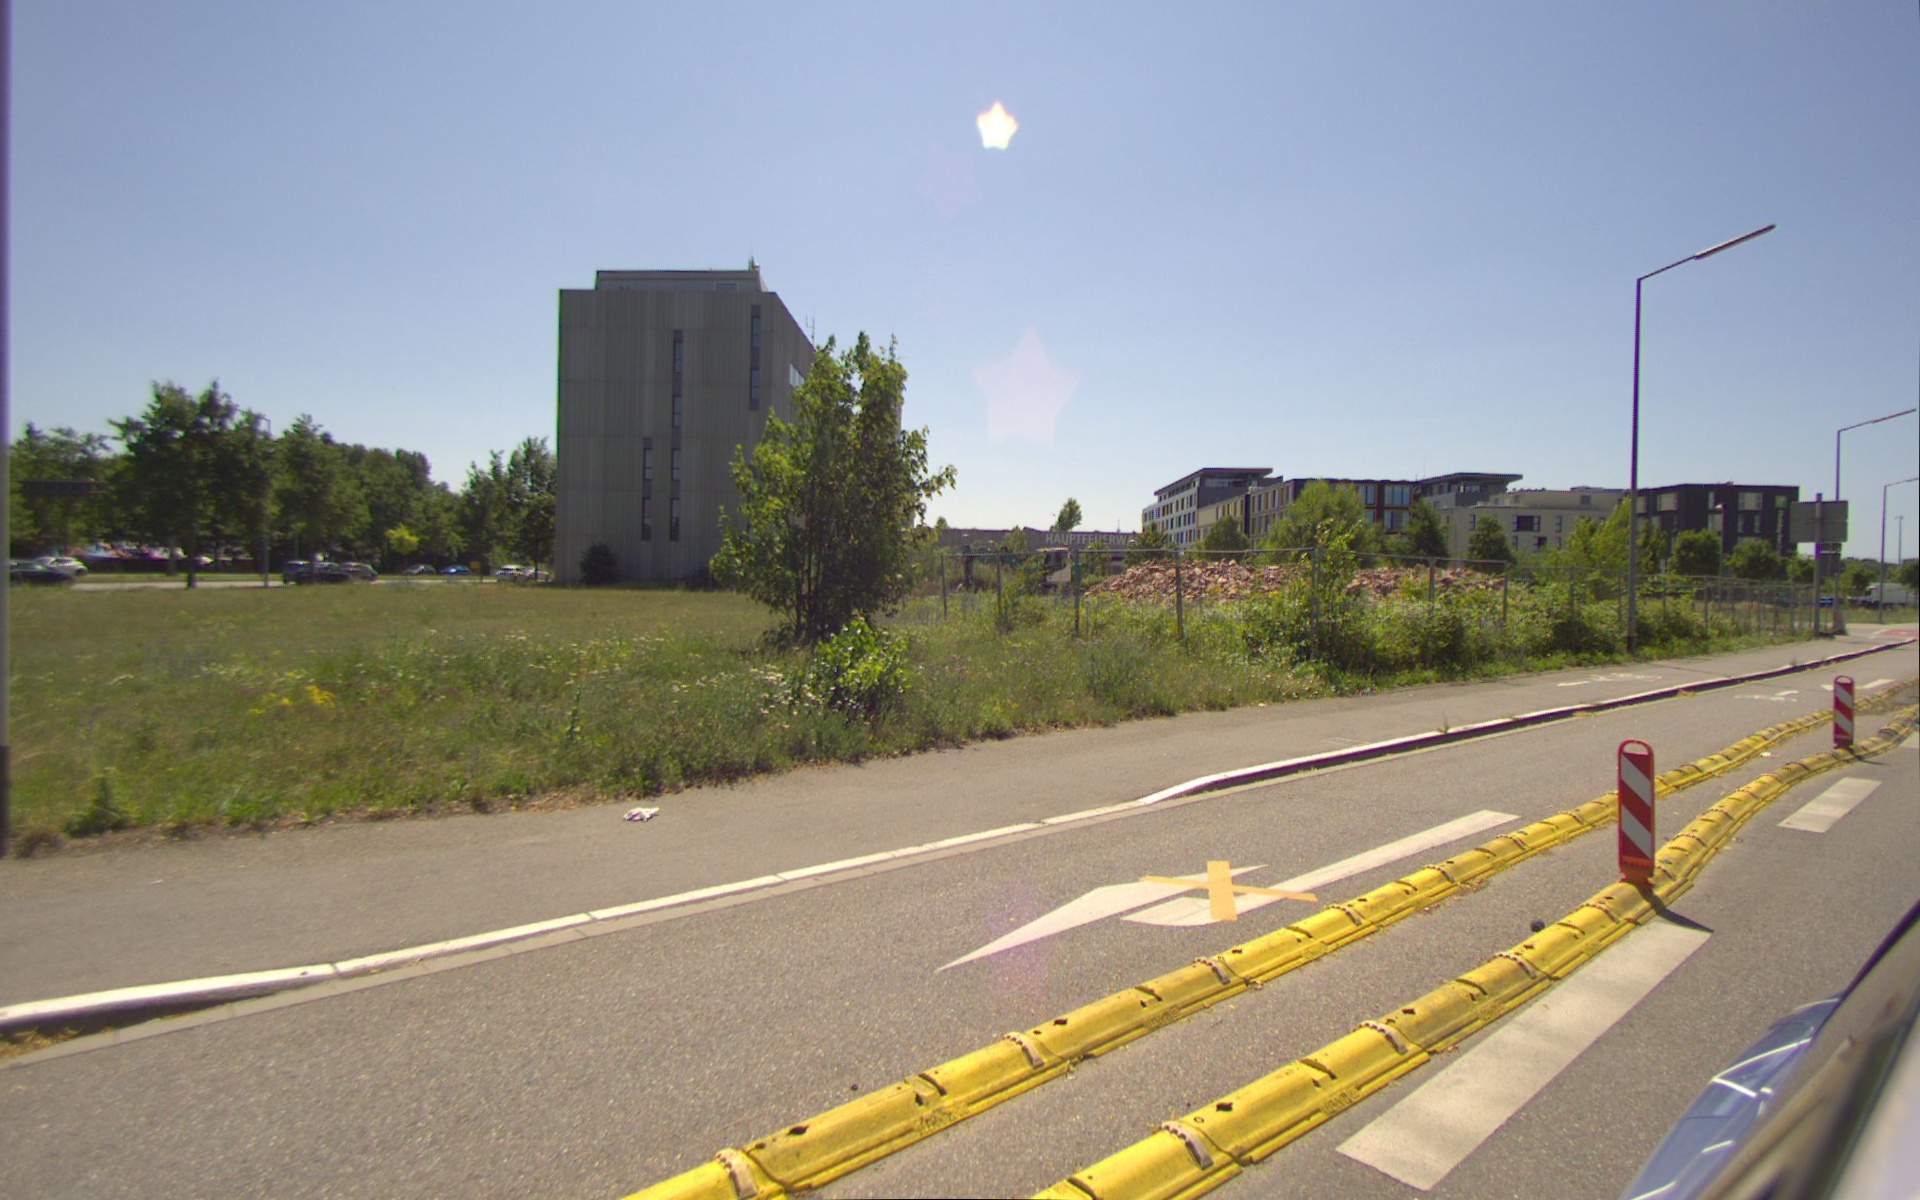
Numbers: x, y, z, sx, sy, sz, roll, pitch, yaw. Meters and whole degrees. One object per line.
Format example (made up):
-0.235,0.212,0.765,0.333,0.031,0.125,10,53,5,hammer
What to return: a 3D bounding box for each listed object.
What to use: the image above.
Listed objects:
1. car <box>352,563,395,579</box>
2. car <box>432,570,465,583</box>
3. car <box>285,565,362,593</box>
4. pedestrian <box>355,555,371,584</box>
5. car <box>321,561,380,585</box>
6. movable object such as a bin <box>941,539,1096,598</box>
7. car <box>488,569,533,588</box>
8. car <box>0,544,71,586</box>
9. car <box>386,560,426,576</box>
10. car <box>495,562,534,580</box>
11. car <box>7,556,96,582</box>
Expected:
-61.718,-3.048,106.570,1.814,1.611,4.444,1,1,1,car
-61.273,-2.827,121.246,1.734,1.557,3.997,0,0,3,car
-41.985,-1.379,66.923,1.964,1.757,4.639,0,0,4,car
-33.802,-1.742,57.346,0.652,1.611,0.557,0,0,-15,pedestrian
-48.262,-2.109,80.222,1.962,1.757,4.645,0,0,-1,car
3.097,-1.601,53.303,7.537,2.952,3.242,-1,0,-26,movable object such as a bin
-42.164,-1.993,95.022,1.964,1.757,4.639,0,0,4,car
-46.064,-1.655,49.028,1.961,1.961,4.645,0,0,-1,car
-58.836,-3.413,107.594,1.814,1.612,4.443,0,0,1,car
-45.461,-2.930,103.393,1.962,1.757,4.645,0,0,-1,car
-59.108,-1.987,65.950,1.814,1.612,4.443,0,0,1,car
